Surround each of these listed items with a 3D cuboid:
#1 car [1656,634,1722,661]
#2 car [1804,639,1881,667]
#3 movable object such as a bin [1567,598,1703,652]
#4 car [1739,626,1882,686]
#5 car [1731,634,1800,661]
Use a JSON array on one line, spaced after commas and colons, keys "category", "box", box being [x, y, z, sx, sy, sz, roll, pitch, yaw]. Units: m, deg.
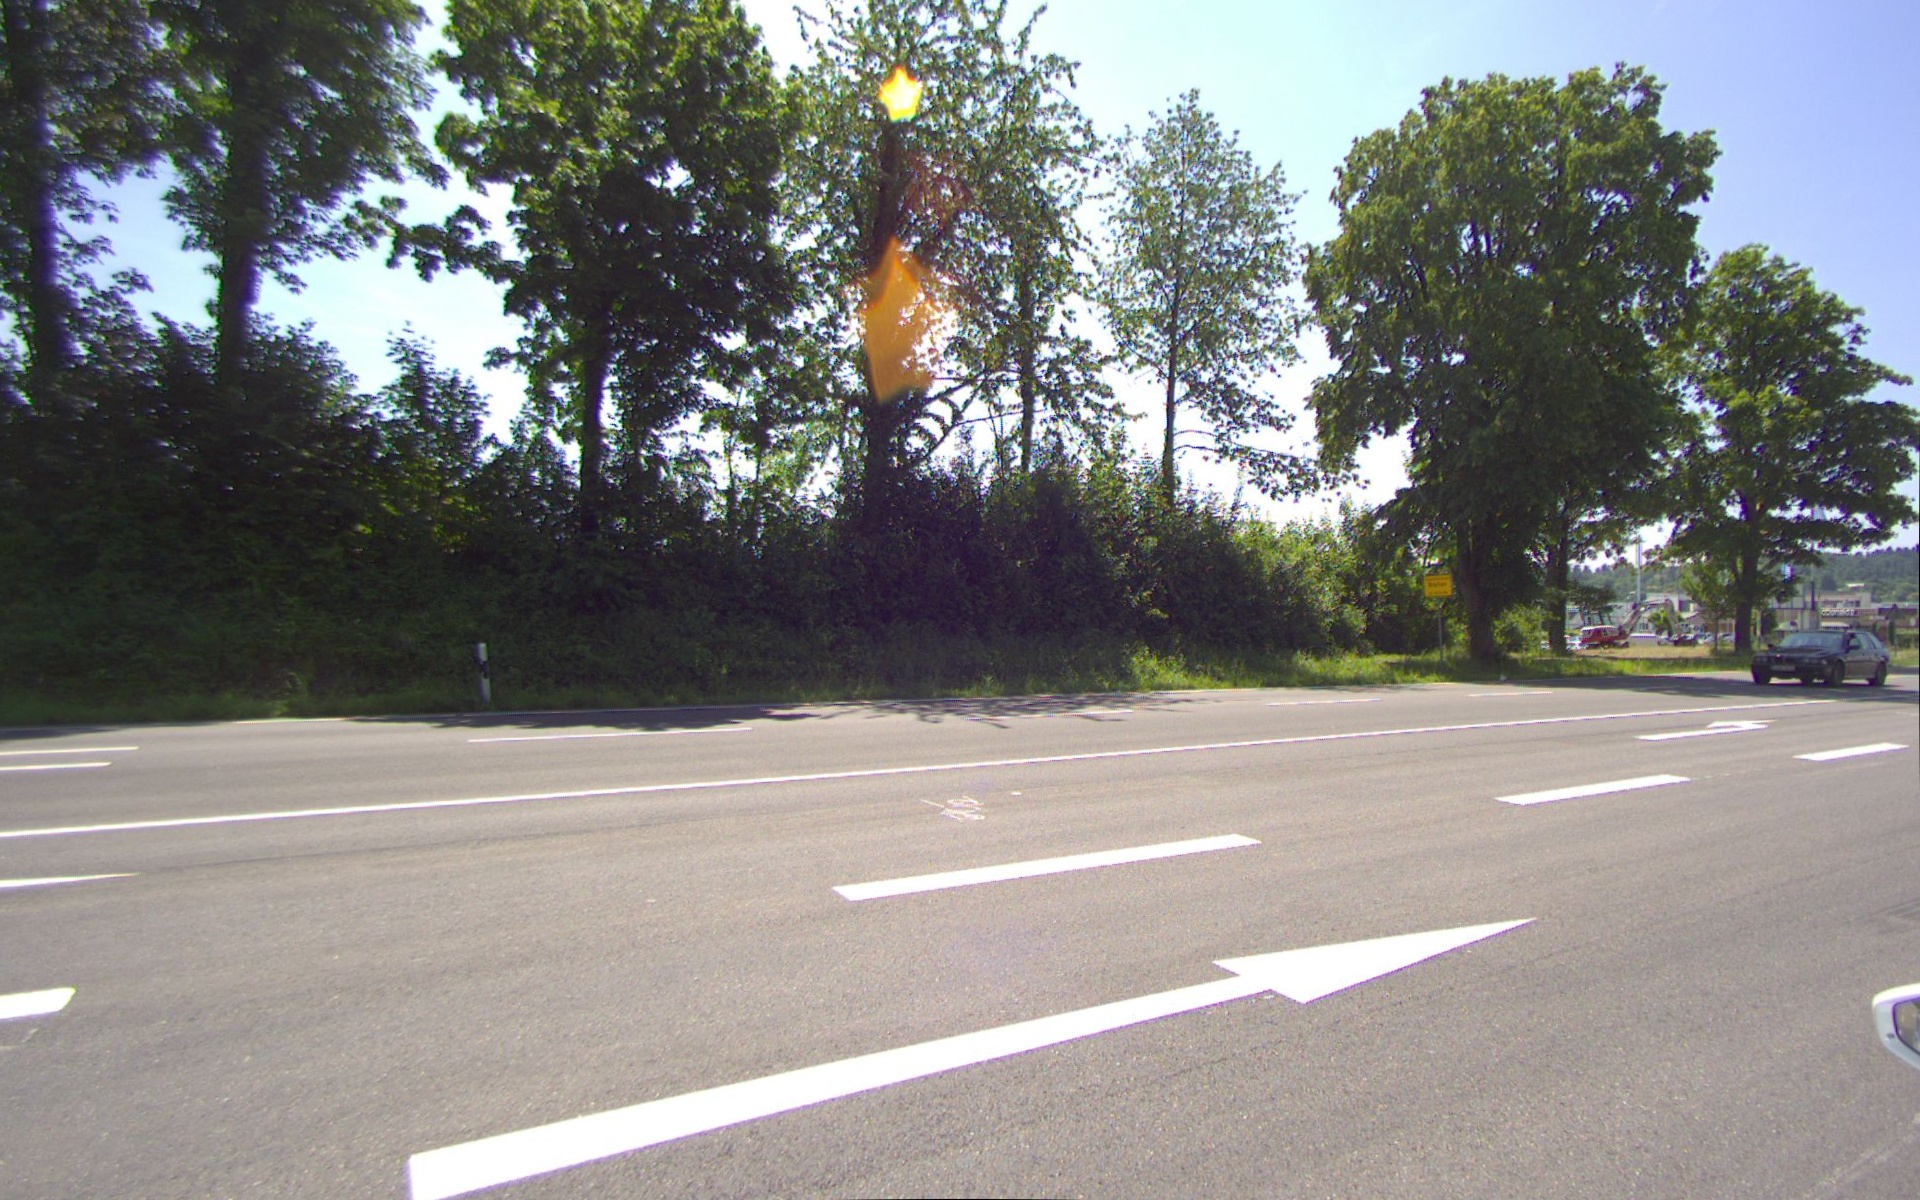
[{"category": "car", "box": [50.037, 3.220, 69.031, 1.959, 1.673, 4.002, 1, -1, 6]}, {"category": "car", "box": [58.009, 3.441, 66.102, 1.803, 1.639, 4.002, 1, -1, 6]}, {"category": "movable object such as a bin", "box": [43.794, 1.571, 65.373, 6.654, 3.342, 3.055, 1, -1, 10]}, {"category": "car", "box": [22.497, 1.483, 26.554, 3.956, 1.405, 1.757, 3, 0, -32]}, {"category": "car", "box": [54.928, 3.224, 68.612, 1.803, 1.639, 4.002, 1, -1, 6]}]
